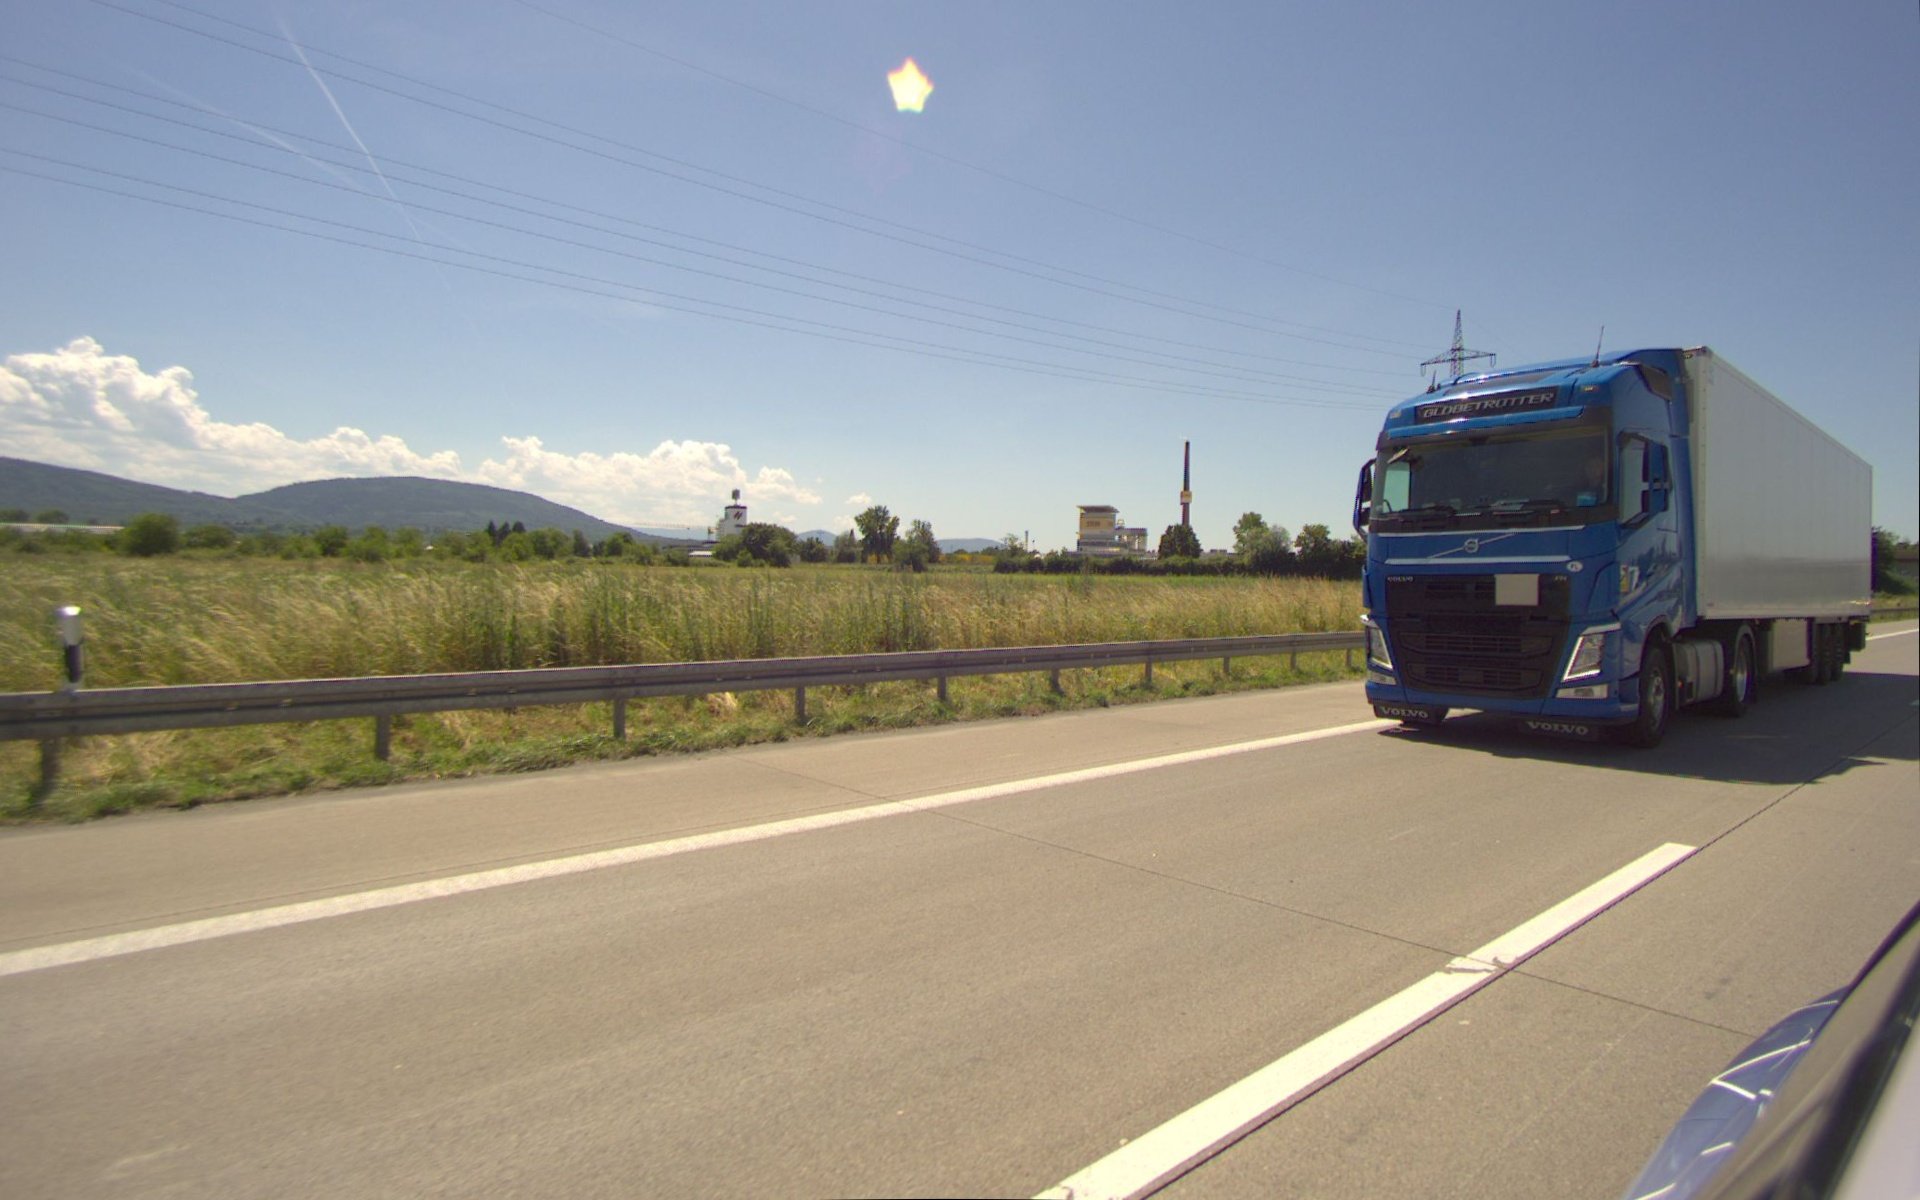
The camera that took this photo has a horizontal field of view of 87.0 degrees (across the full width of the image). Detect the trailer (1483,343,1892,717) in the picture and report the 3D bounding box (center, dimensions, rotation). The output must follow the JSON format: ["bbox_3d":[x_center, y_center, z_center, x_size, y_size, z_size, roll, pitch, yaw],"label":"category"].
[{"bbox_3d":[12.397,-0.823,16.339,12.680,4.095,2.712,-1,0,-42],"label":"trailer"}]

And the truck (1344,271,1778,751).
[{"bbox_3d":[6.975,-0.784,11.473,5.372,4.095,2.754,0,0,-42],"label":"truck"}]
